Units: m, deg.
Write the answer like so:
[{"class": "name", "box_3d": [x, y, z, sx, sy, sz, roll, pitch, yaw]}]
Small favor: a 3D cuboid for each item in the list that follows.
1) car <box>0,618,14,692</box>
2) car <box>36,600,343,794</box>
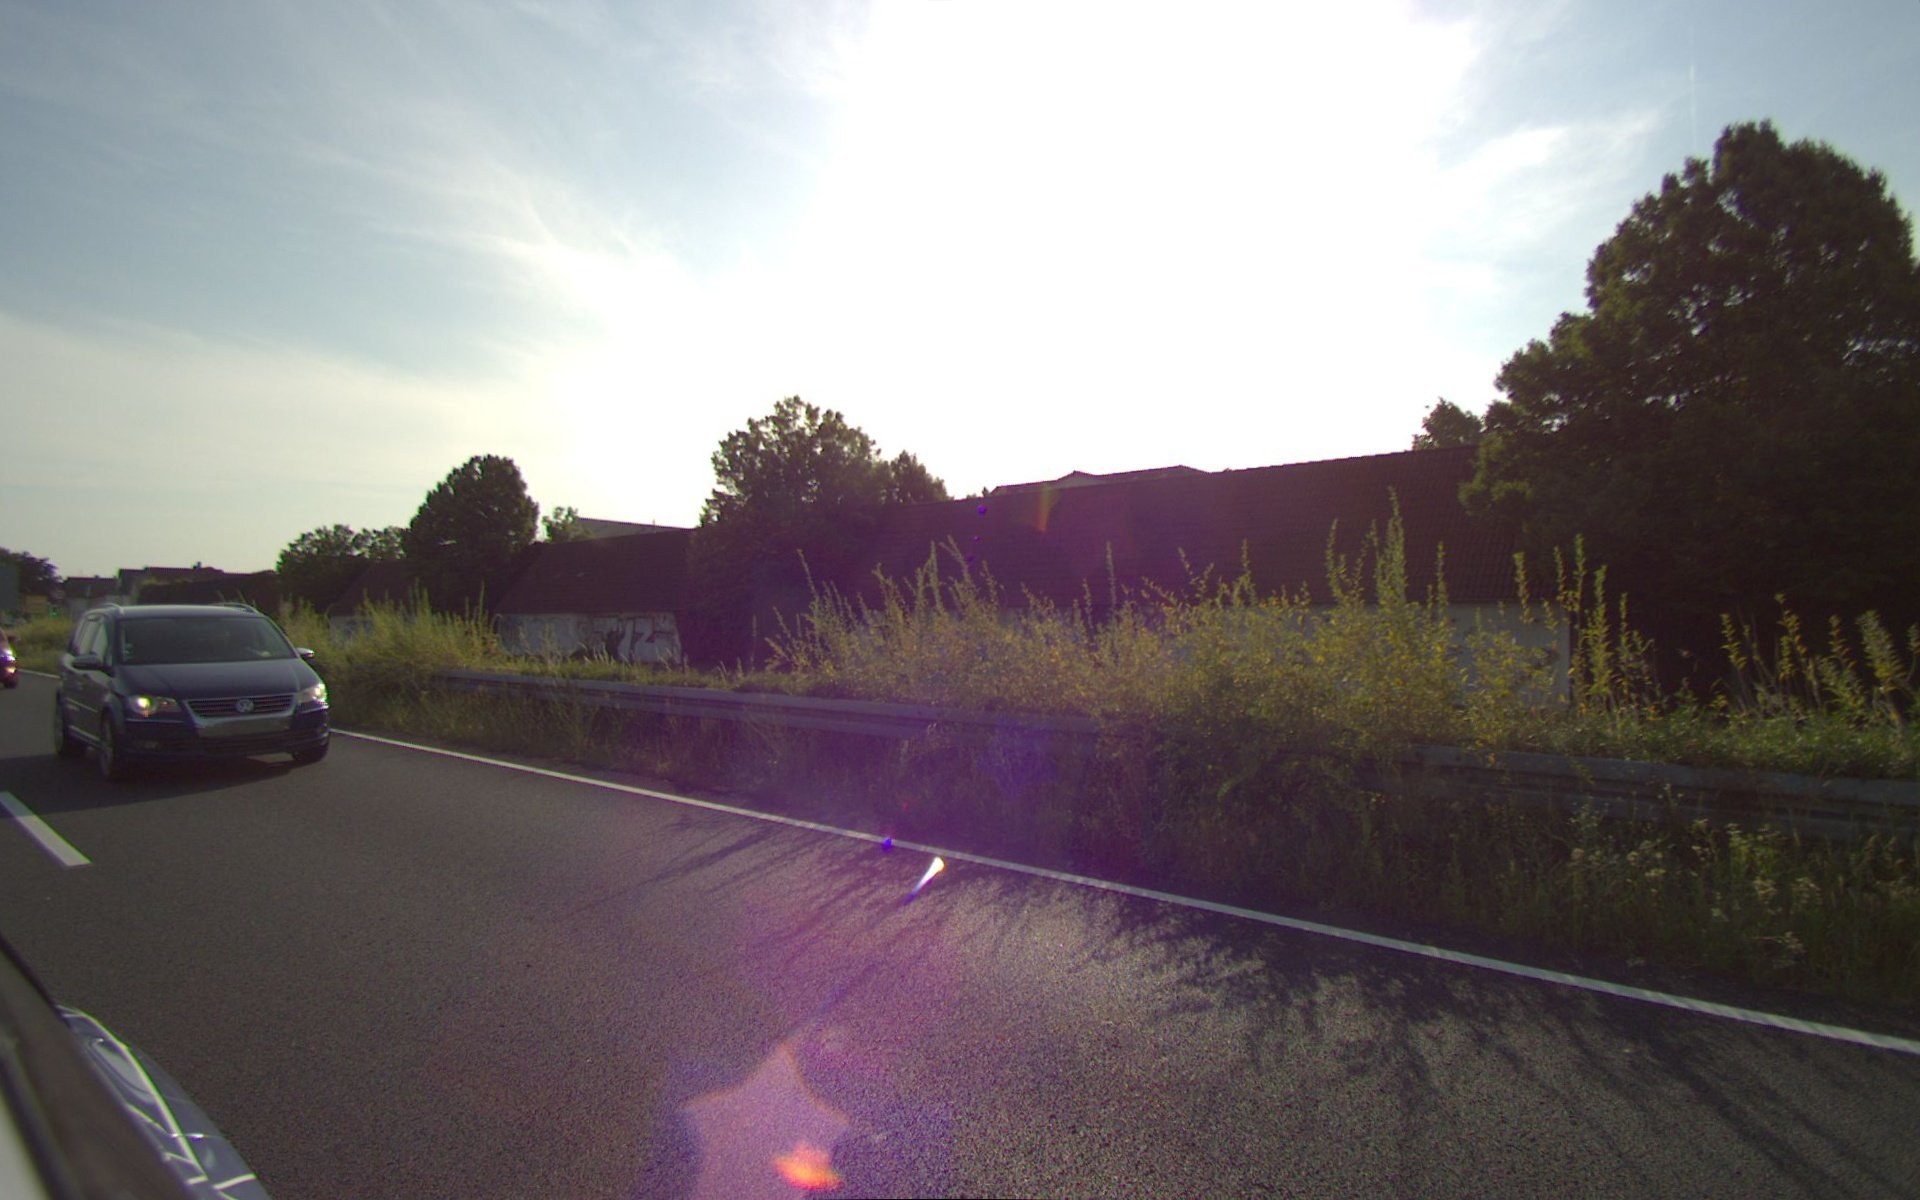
[{"class": "car", "box_3d": [-22.576, 1.203, 22.633, 3.999, 1.557, 1.725, 0, 0, 42]}, {"class": "car", "box_3d": [-8.320, 0.817, 10.745, 4.681, 1.633, 1.754, 0, 0, 42]}]
